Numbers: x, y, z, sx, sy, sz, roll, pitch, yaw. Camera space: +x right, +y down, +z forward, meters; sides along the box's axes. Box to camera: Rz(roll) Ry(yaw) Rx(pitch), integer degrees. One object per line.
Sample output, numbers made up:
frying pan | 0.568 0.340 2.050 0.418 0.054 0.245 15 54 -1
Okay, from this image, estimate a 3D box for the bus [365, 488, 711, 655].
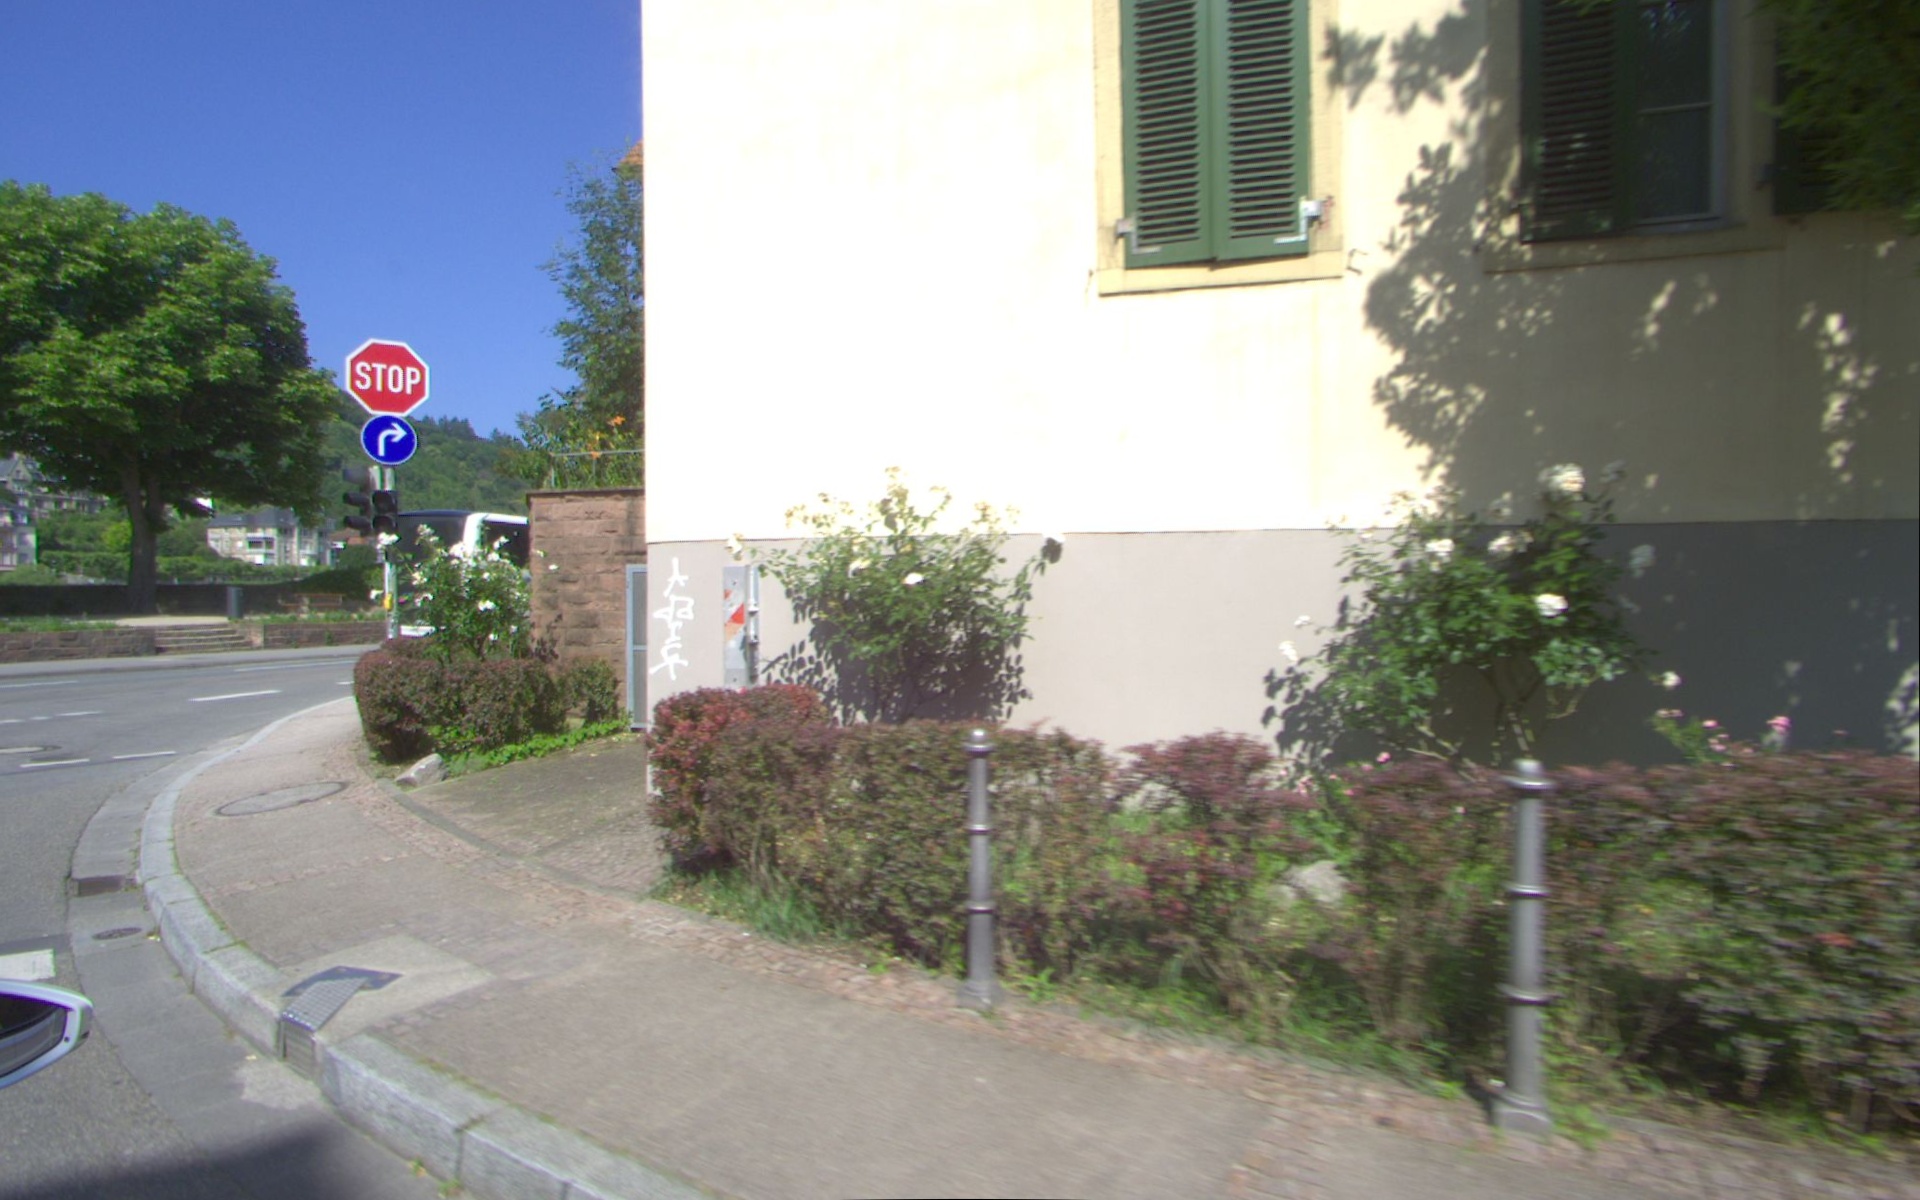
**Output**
bus | -11.350 -0.611 29.257 2.852 3.838 12.170 0 0 12
